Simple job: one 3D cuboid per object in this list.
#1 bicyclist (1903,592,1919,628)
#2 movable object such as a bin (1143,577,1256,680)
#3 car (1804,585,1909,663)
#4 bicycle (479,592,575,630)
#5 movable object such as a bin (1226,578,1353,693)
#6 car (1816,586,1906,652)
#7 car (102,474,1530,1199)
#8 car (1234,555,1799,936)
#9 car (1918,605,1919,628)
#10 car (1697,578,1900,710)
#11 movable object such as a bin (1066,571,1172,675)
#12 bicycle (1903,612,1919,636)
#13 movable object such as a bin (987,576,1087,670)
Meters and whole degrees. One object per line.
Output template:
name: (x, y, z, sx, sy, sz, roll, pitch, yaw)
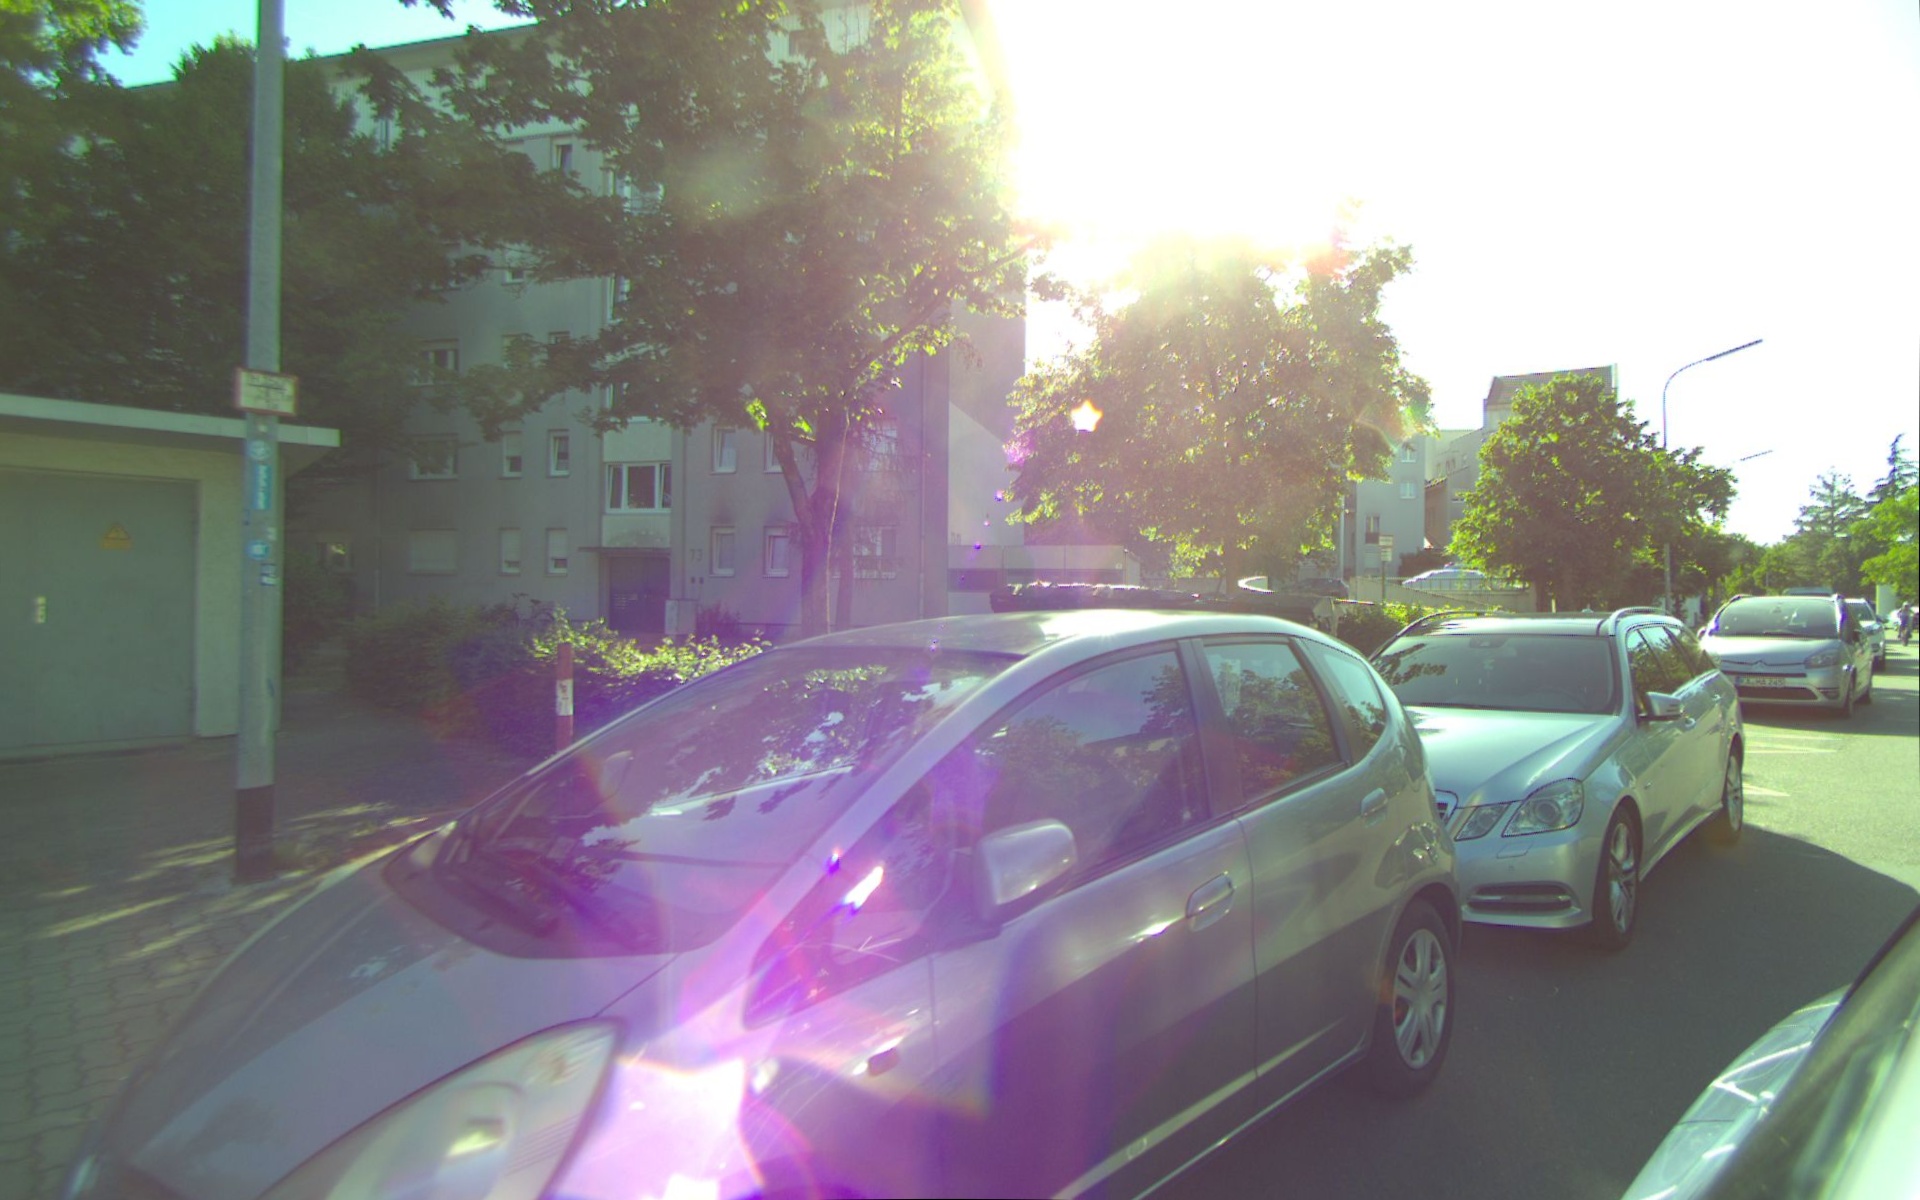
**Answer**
bicyclist: (37.035, 0.382, 39.115, 0.810, 1.373, 1.074, 0, 0, 42)
movable object such as a bin: (3.553, 0.395, 15.041, 1.323, 1.449, 1.014, 1, 0, 40)
car: (21.469, 0.524, 24.260, 1.753, 1.695, 4.346, 1, 0, 42)
bicycle: (-10.870, 0.260, 25.400, 2.382, 0.854, 0.544, 2, 0, 15)
movable object such as a bin: (4.565, 0.459, 14.045, 1.323, 1.445, 1.054, 4, 2, 40)
car: (24.915, 0.482, 28.015, 1.753, 1.707, 3.922, 1, 0, 42)
car: (0.022, 0.633, 2.919, 3.731, 1.513, 1.806, 0, 0, -43)
car: (3.775, 0.597, 6.410, 4.562, 1.565, 1.833, 0, 0, -43)
car: (64.312, 1.147, 66.318, 1.648, 1.587, 3.645, 3, 2, 34)
car: (12.329, 0.543, 14.777, 4.419, 1.647, 1.756, 0, 0, -43)
movable object such as a bin: (2.508, 0.343, 15.957, 1.323, 1.556, 1.014, 0, 0, 40)
bicycle: (36.900, 0.916, 38.970, 0.821, 0.912, 2.169, 0, 0, 42)
movable object such as a bin: (1.287, 0.361, 16.894, 1.320, 1.500, 1.014, 0, 0, 40)
